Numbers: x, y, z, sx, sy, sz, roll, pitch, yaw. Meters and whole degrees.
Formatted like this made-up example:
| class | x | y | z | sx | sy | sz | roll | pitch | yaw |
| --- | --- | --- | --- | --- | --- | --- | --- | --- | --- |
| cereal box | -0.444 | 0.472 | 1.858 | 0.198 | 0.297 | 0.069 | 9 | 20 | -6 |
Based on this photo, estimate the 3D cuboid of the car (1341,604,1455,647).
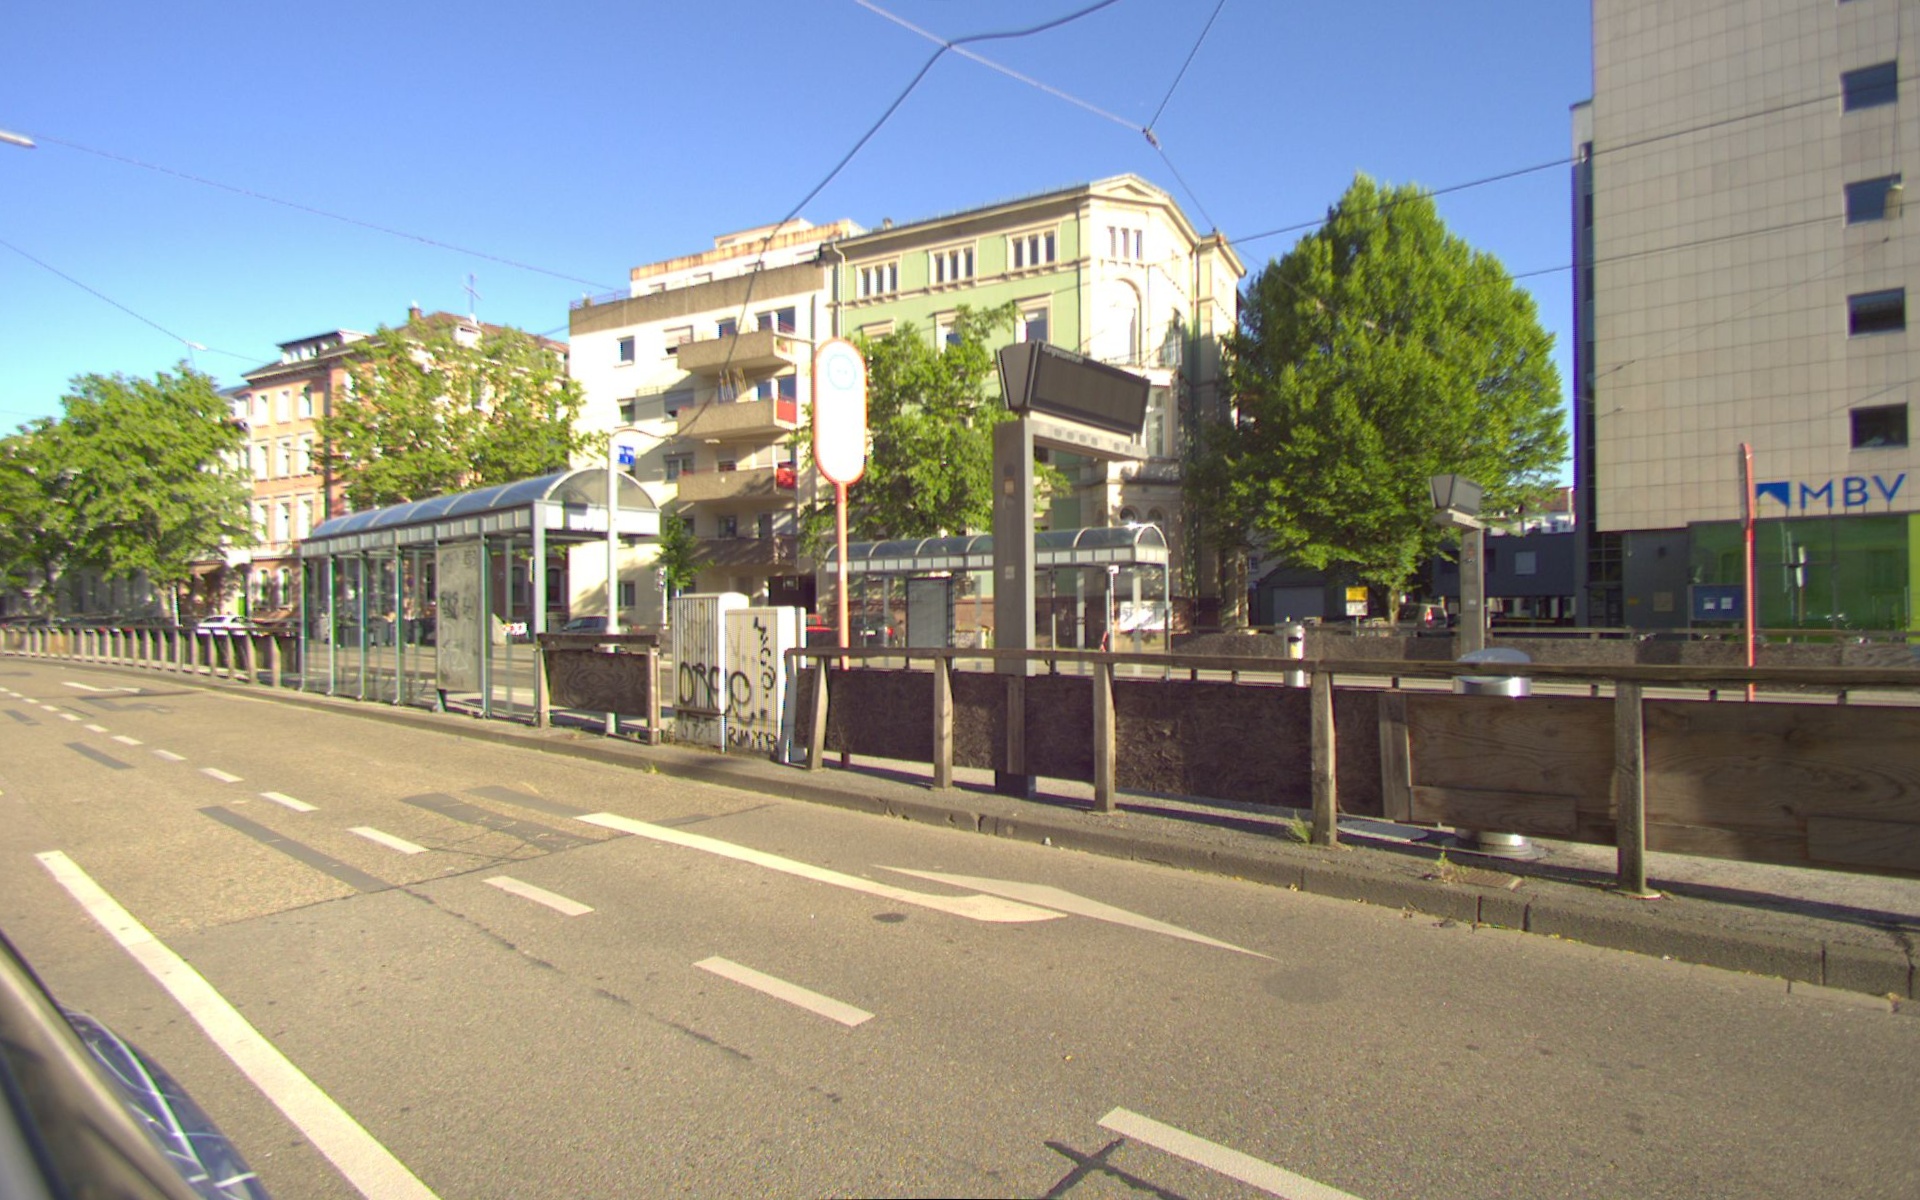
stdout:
| class | x | y | z | sx | sy | sz | roll | pitch | yaw |
| --- | --- | --- | --- | --- | --- | --- | --- | --- | --- |
| car | 15.754 | 0.890 | 36.502 | 1.544 | 1.423 | 3.430 | -1 | 0 | -38 |

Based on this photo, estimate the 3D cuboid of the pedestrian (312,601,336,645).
| class | x | y | z | sx | sy | sz | roll | pitch | yaw |
| --- | --- | --- | --- | --- | --- | --- | --- | --- | --- |
| pedestrian | -33.184 | 1.199 | 52.806 | 0.753 | 2.224 | 0.804 | -1 | -2 | 30 |

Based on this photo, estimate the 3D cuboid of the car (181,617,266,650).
| class | x | y | z | sx | sy | sz | roll | pitch | yaw |
| --- | --- | --- | --- | --- | --- | --- | --- | --- | --- |
| car | -39.462 | 1.770 | 54.344 | 1.825 | 1.721 | 4.130 | 0 | -1 | -5 |

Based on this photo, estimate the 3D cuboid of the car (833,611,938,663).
| class | x | y | z | sx | sy | sz | roll | pitch | yaw |
| --- | --- | --- | --- | --- | --- | --- | --- | --- | --- |
| car | -2.385 | 1.197 | 33.490 | 1.754 | 1.594 | 3.965 | -1 | -1 | 26 |

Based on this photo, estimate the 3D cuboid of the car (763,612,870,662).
| class | x | y | z | sx | sy | sz | roll | pitch | yaw |
| --- | --- | --- | --- | --- | --- | --- | --- | --- | --- |
| car | -4.819 | 1.228 | 34.538 | 1.754 | 1.594 | 3.965 | -1 | -1 | 26 |

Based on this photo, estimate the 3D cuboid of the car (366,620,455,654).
| class | x | y | z | sx | sy | sz | roll | pitch | yaw |
| --- | --- | --- | --- | --- | --- | --- | --- | --- | --- |
| car | -23.741 | 1.582 | 43.693 | 3.986 | 1.407 | 1.592 | -1 | -2 | 32 |

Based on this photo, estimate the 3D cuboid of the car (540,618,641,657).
| class | x | y | z | sx | sy | sz | roll | pitch | yaw |
| --- | --- | --- | --- | --- | --- | --- | --- | --- | --- |
| car | -14.099 | 1.419 | 38.585 | 3.725 | 1.438 | 1.637 | -1 | -1 | 29 |

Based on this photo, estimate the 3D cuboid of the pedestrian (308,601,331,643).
| class | x | y | z | sx | sy | sz | roll | pitch | yaw |
| --- | --- | --- | --- | --- | --- | --- | --- | --- | --- |
| pedestrian | -34.132 | 1.170 | 53.917 | 0.755 | 2.224 | 0.803 | -1 | -2 | 36 |

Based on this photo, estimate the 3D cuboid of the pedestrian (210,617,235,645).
| class | x | y | z | sx | sy | sz | roll | pitch | yaw |
| --- | --- | --- | --- | --- | --- | --- | --- | --- | --- |
| pedestrian | -43.262 | 1.808 | 59.405 | 0.887 | 1.641 | 0.861 | -1 | -2 | 25 |

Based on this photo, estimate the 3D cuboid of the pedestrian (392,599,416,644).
| class | x | y | z | sx | sy | sz | roll | pitch | yaw |
| --- | --- | --- | --- | --- | --- | --- | --- | --- | --- |
| pedestrian | -27.849 | 1.089 | 50.696 | 0.753 | 2.224 | 0.804 | -1 | -2 | 30 |

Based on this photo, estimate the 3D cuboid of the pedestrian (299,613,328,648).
| class | x | y | z | sx | sy | sz | roll | pitch | yaw |
| --- | --- | --- | --- | --- | --- | --- | --- | --- | --- |
| pedestrian | -32.099 | 1.513 | 50.232 | 1.016 | 1.733 | 0.846 | -1 | -2 | 32 |

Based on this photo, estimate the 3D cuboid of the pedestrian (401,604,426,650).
| class | x | y | z | sx | sy | sz | roll | pitch | yaw |
| --- | --- | --- | --- | --- | --- | --- | --- | --- | --- |
| pedestrian | -27.129 | 1.337 | 50.224 | 0.753 | 2.224 | 0.804 | -1 | -2 | 30 |
